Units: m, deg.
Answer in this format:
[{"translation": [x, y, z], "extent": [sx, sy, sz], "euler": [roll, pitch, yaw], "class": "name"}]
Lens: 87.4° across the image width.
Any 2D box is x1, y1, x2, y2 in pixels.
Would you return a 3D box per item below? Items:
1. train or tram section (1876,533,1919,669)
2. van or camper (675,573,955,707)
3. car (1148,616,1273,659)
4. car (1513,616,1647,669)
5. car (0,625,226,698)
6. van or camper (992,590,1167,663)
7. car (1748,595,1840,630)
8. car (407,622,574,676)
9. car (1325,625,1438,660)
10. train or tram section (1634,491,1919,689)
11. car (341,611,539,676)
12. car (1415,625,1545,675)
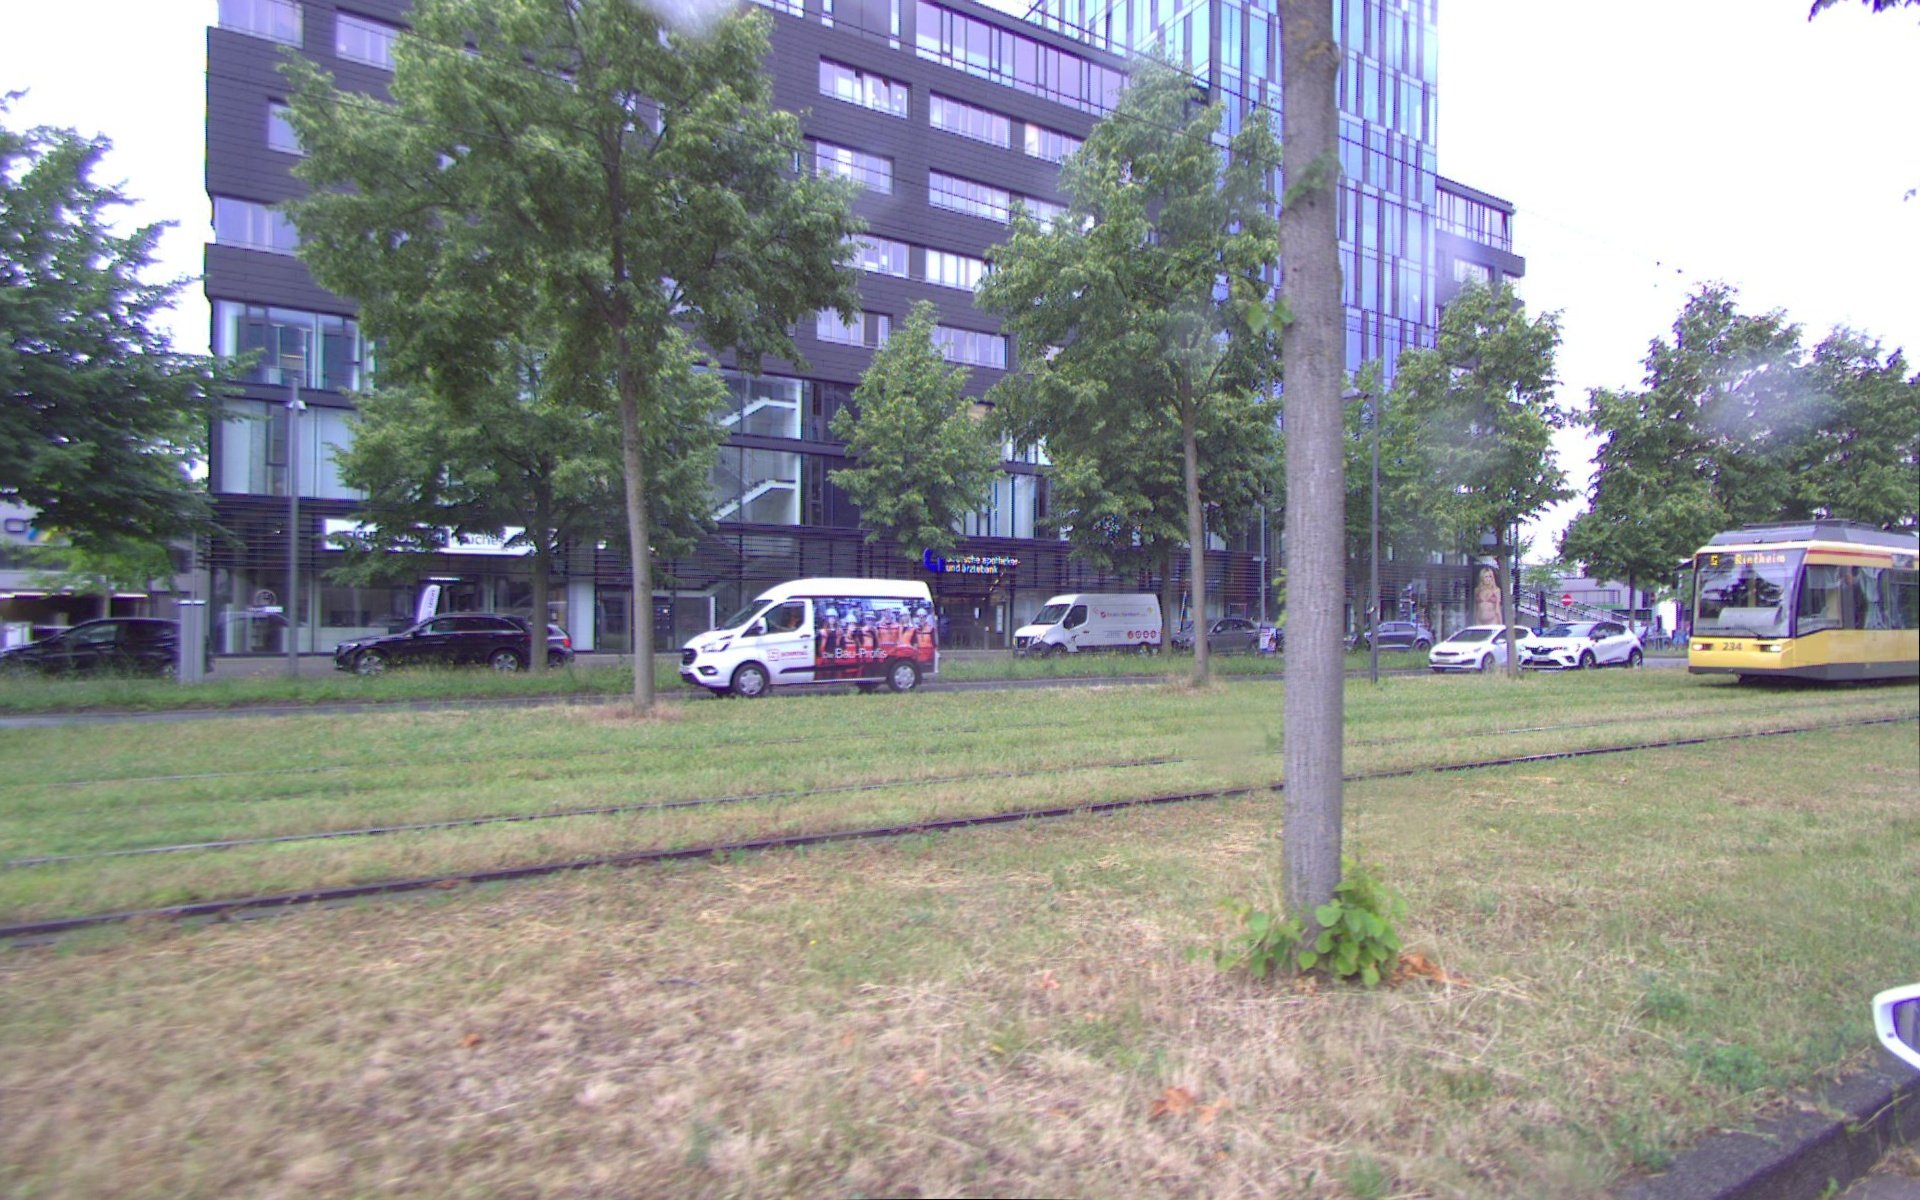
[{"translation": [33.007, 0.135, 30.741], "extent": [14.887, 3.707, 3.114], "euler": [1, 0, -31], "class": "train or tram section"}, {"translation": [-2.889, 0.775, 20.518], "extent": [5.338, 2.443, 1.900], "euler": [1, -1, -30], "class": "van or camper"}, {"translation": [9.503, 1.386, 38.035], "extent": [4.555, 1.542, 1.983], "euler": [1, -1, -32], "class": "car"}, {"translation": [18.149, 1.208, 29.370], "extent": [3.953, 1.423, 1.702], "euler": [1, -1, -30], "class": "car"}, {"translation": [-18.248, 1.259, 21.421], "extent": [3.953, 1.397, 1.984], "euler": [1, 0, -30], "class": "car"}, {"translation": [4.205, 0.903, 34.964], "extent": [5.781, 2.346, 2.421], "euler": [1, -1, -30], "class": "van or camper"}, {"translation": [36.644, 0.572, 44.104], "extent": [3.953, 1.478, 1.876], "euler": [1, -2, -30], "class": "car"}, {"translation": [-13.214, 1.338, 28.323], "extent": [4.134, 1.397, 1.808], "euler": [1, 0, -30], "class": "car"}, {"translation": [20.224, 2.026, 48.263], "extent": [4.590, 1.542, 1.999], "euler": [1, 0, -3], "class": "car"}, {"translation": [20.968, -0.092, 23.593], "extent": [13.249, 3.707, 3.114], "euler": [1, 0, -31], "class": "train or tram section"}, {"translation": [-12.731, 1.040, 24.731], "extent": [4.191, 1.469, 1.694], "euler": [1, 0, -30], "class": "car"}, {"translation": [16.654, 1.570, 32.141], "extent": [3.953, 1.479, 1.876], "euler": [1, -1, -30], "class": "car"}]
